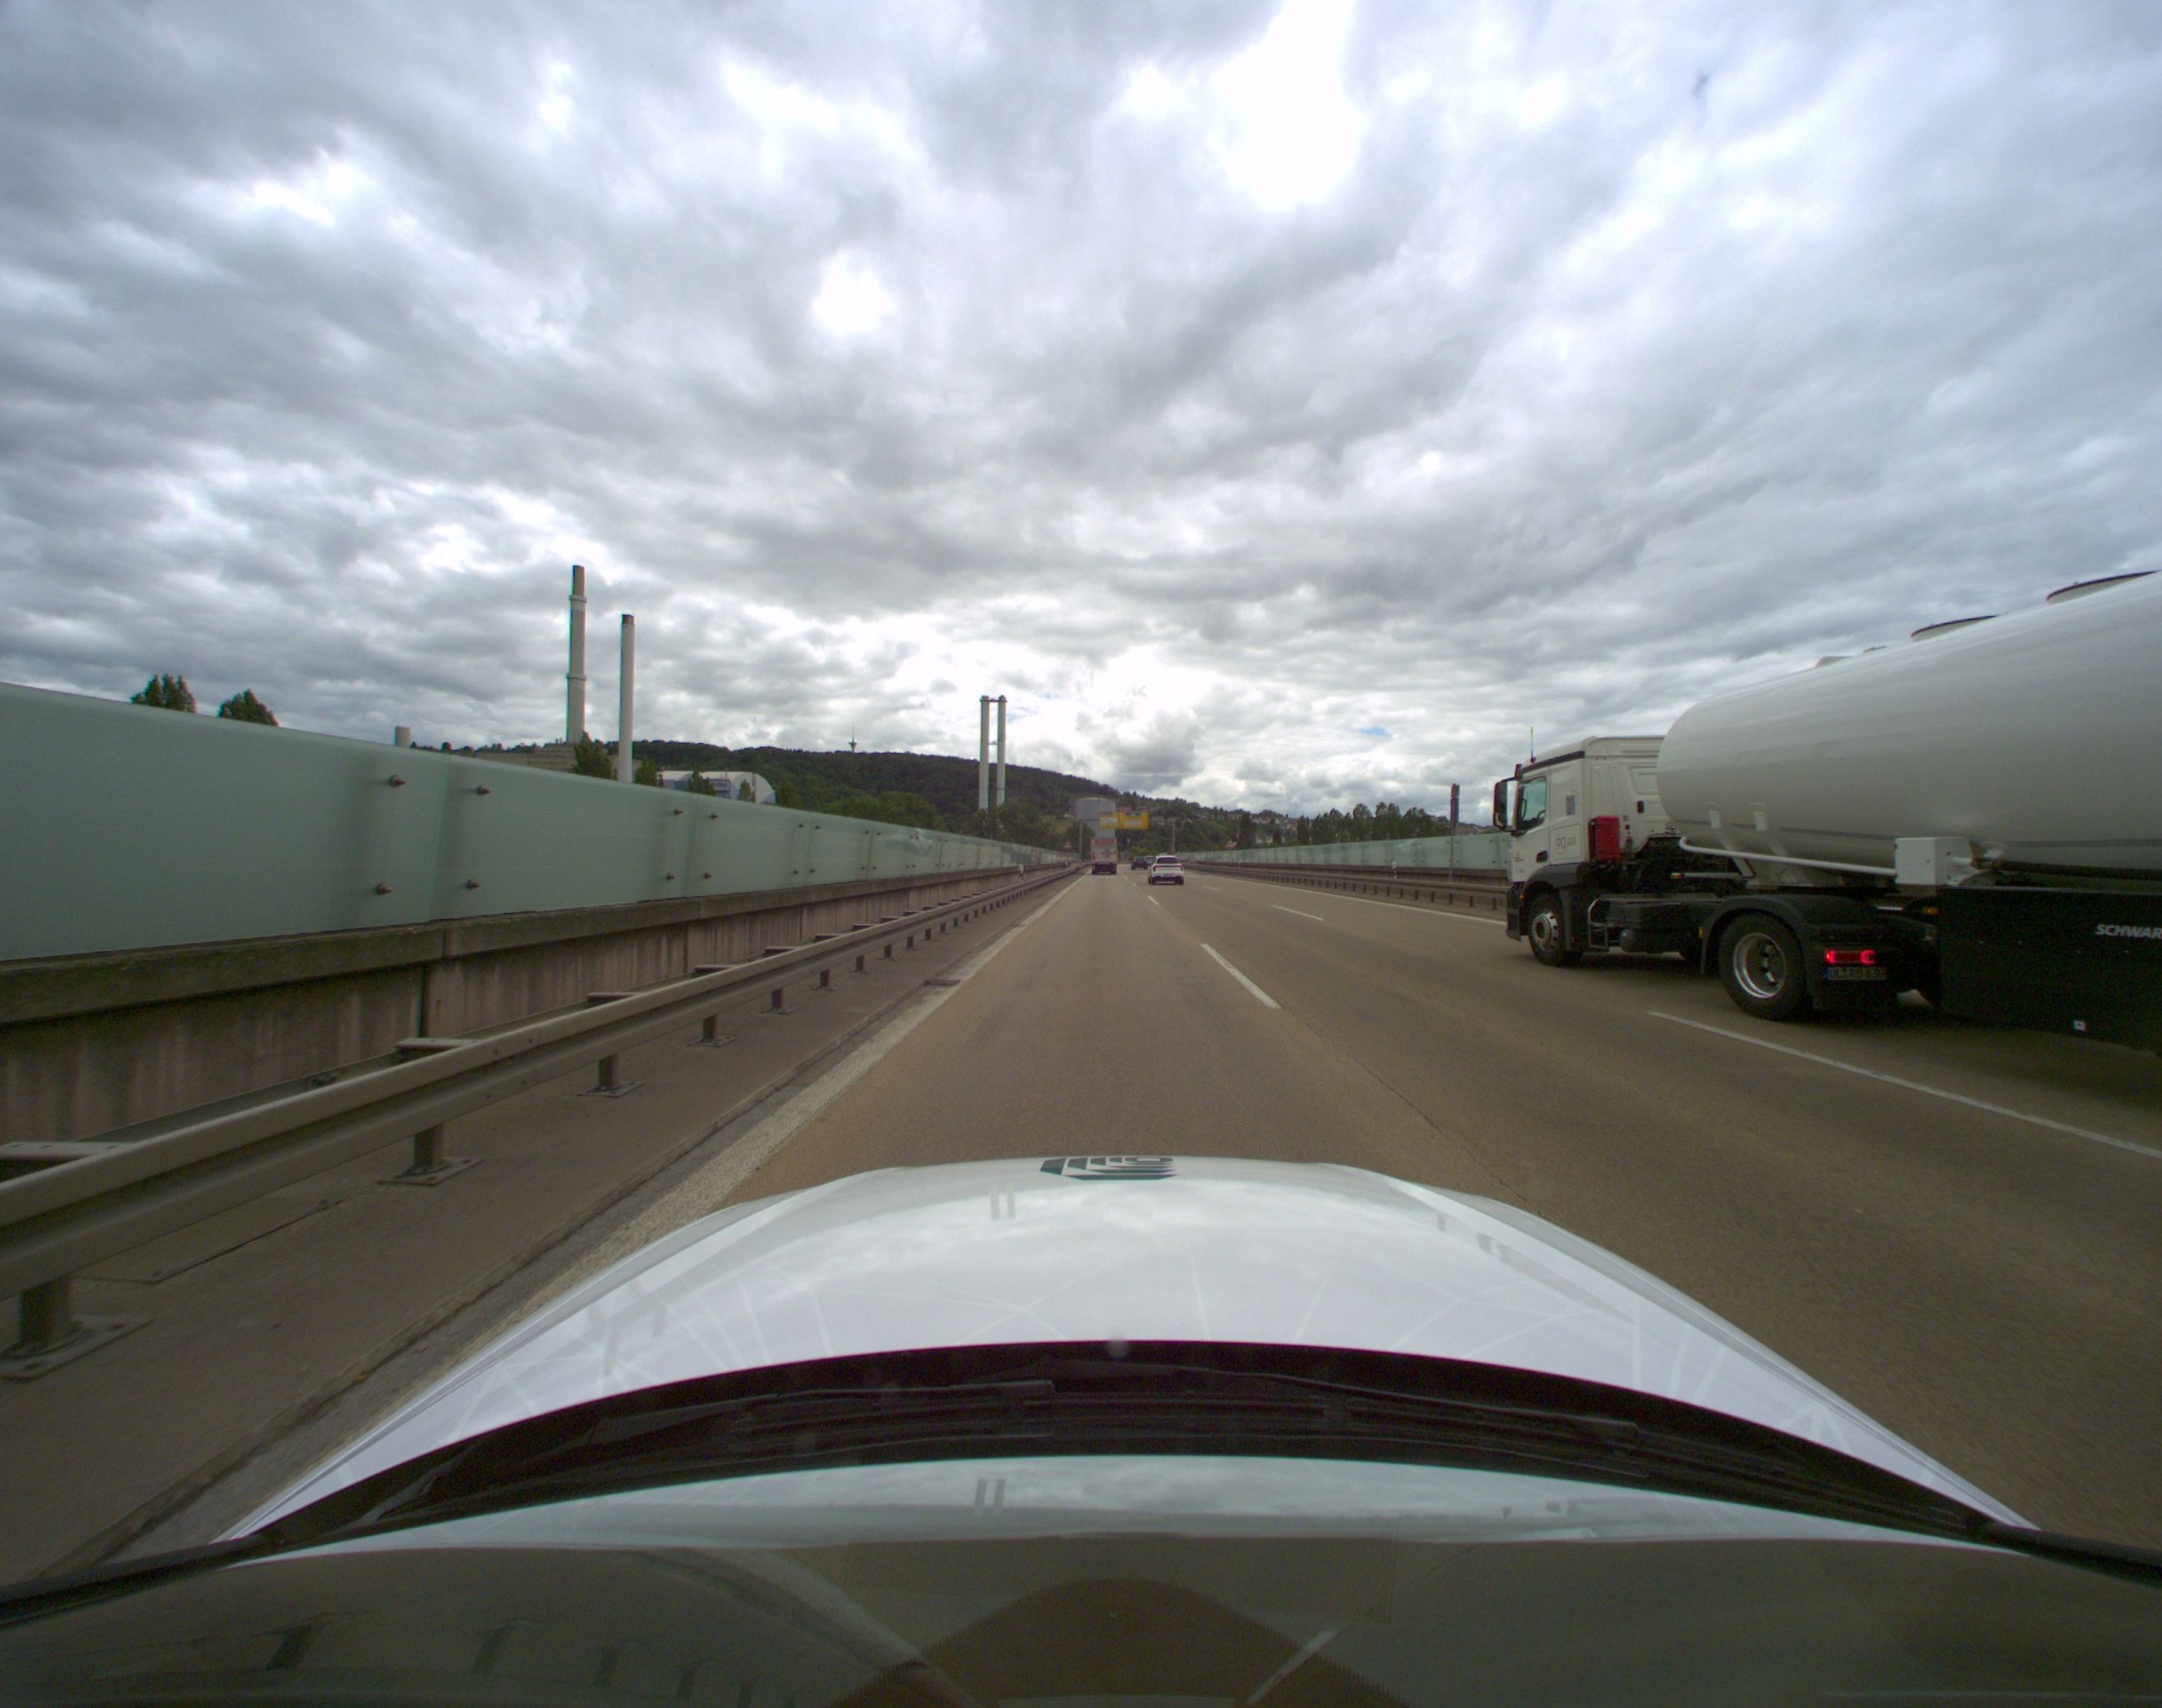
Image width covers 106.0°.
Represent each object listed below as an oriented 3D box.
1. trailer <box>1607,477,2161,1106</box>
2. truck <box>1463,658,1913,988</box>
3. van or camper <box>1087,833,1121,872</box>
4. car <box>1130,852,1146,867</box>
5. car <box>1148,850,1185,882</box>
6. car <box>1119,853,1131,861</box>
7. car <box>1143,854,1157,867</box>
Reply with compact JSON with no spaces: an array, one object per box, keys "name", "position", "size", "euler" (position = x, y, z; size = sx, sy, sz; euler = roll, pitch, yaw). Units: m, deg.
[{"name":"trailer","position":[7.386,-0.362,4.039],"size":[2.640,3.543,11.225],"euler":[-1,0,2]},{"name":"truck","position":[7.659,-0.328,11.196],"size":[2.621,3.514,4.906],"euler":[-1,0,2]},{"name":"van or camper","position":[2.368,-0.120,81.168],"size":[3.109,3.579,8.556],"euler":[-1,0,3]},{"name":"car","position":[7.192,0.689,102.544],"size":[1.916,1.785,4.115],"euler":[0,0,2]},{"name":"car","position":[4.930,0.676,47.486],"size":[1.916,1.785,4.115],"euler":[0,0,2]},{"name":"car","position":[11.665,0.748,214.461],"size":[2.457,1.979,5.176],"euler":[-1,0,11]},{"name":"car","position":[10.095,0.955,119.229],"size":[1.916,1.785,4.115],"euler":[0,0,2]}]
